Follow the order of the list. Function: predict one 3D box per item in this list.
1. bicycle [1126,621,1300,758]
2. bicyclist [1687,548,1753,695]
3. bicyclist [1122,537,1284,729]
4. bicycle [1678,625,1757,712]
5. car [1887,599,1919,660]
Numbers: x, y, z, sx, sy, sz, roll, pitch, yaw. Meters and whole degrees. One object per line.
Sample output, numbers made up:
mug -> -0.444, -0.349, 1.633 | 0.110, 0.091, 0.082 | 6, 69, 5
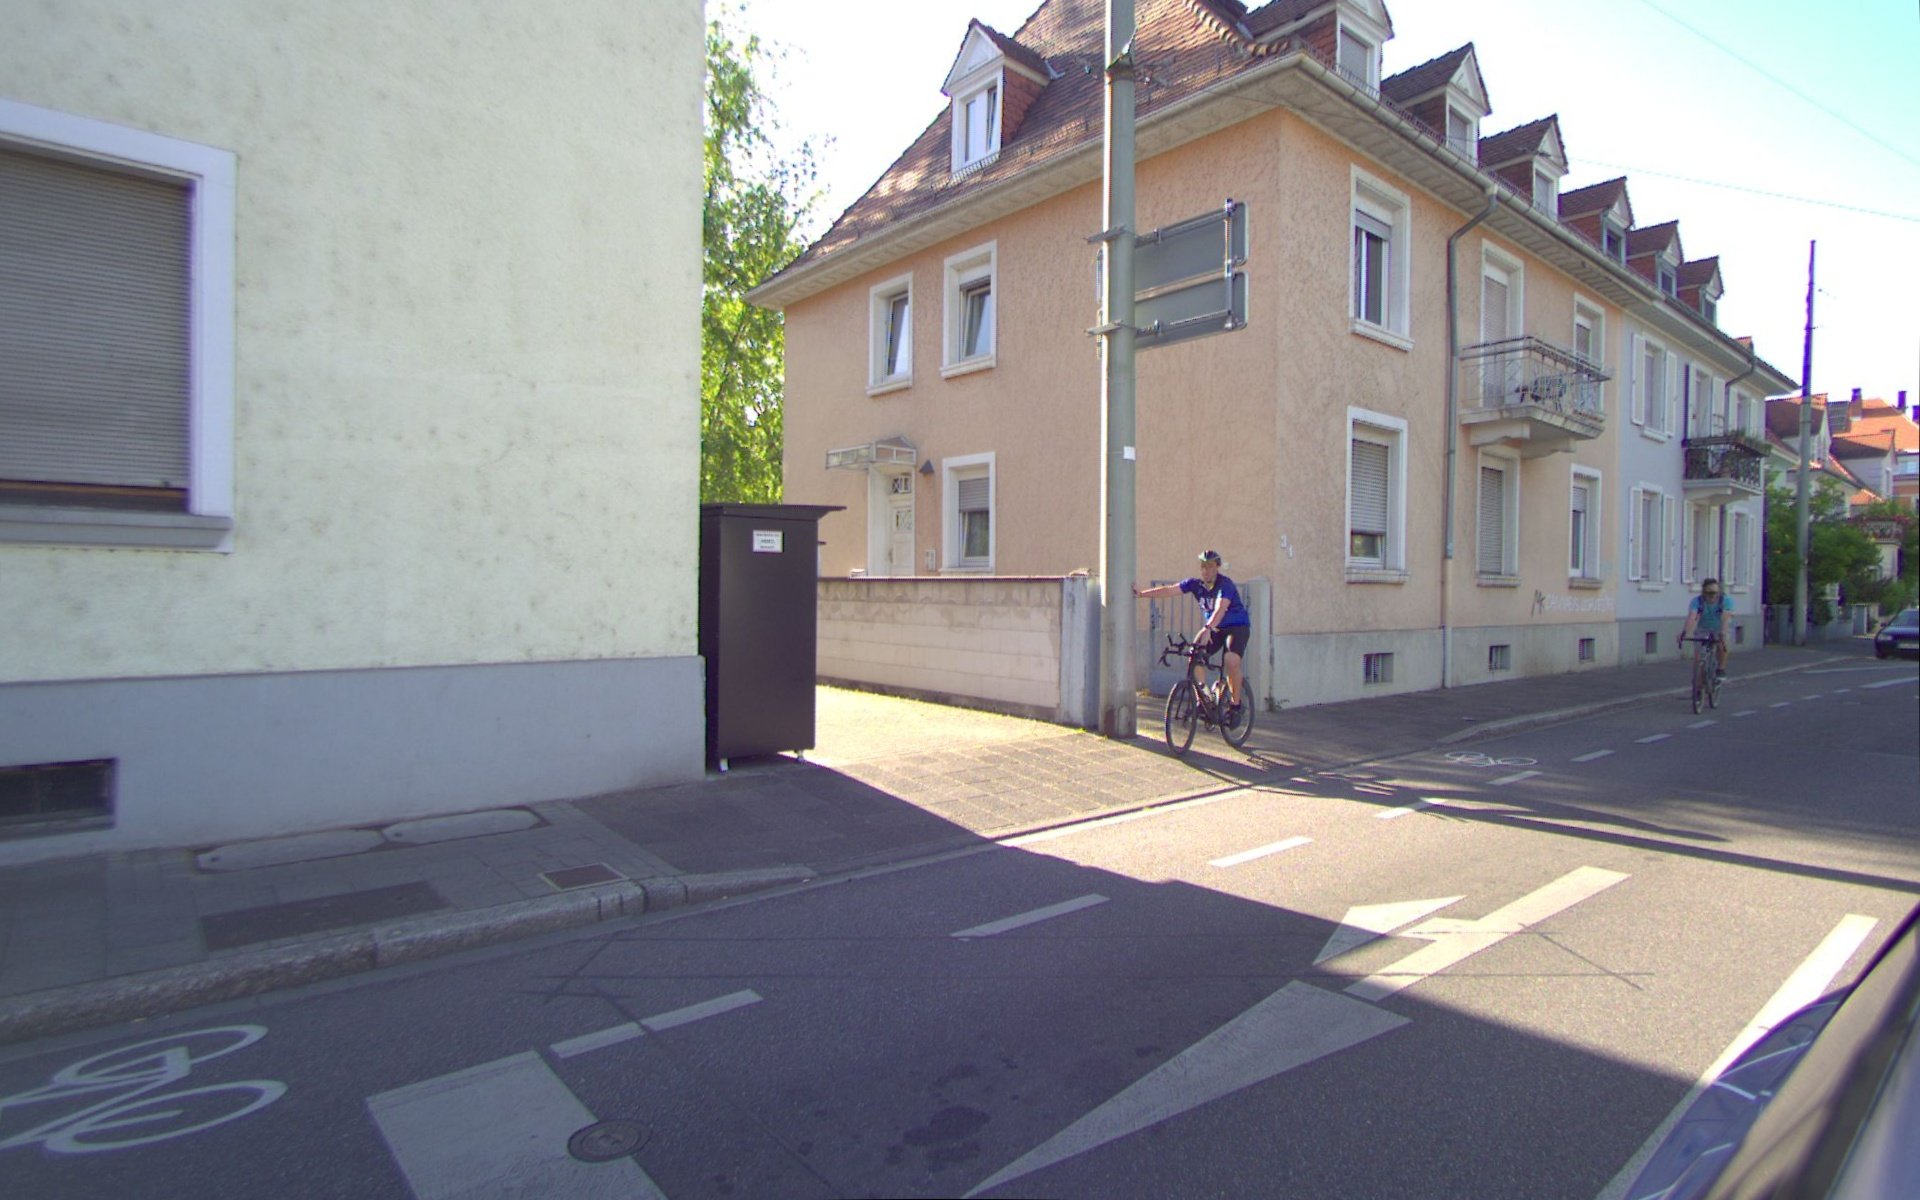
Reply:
bicycle -> 2.366, 0.779, 9.359 | 1.744, 1.081, 0.592 | 0, 5, -41
bicyclist -> 10.503, 0.295, 13.972 | 0.929, 1.959, 0.519 | 4, -2, -42
bicyclist -> 2.272, 0.273, 9.526 | 0.870, 1.627, 1.052 | 1, 5, -41
bicycle -> 10.457, 0.923, 13.941 | 1.764, 1.105, 0.519 | 3, -1, -42
car -> 26.694, 0.752, 27.367 | 3.742, 1.601, 1.696 | 0, -1, -36
